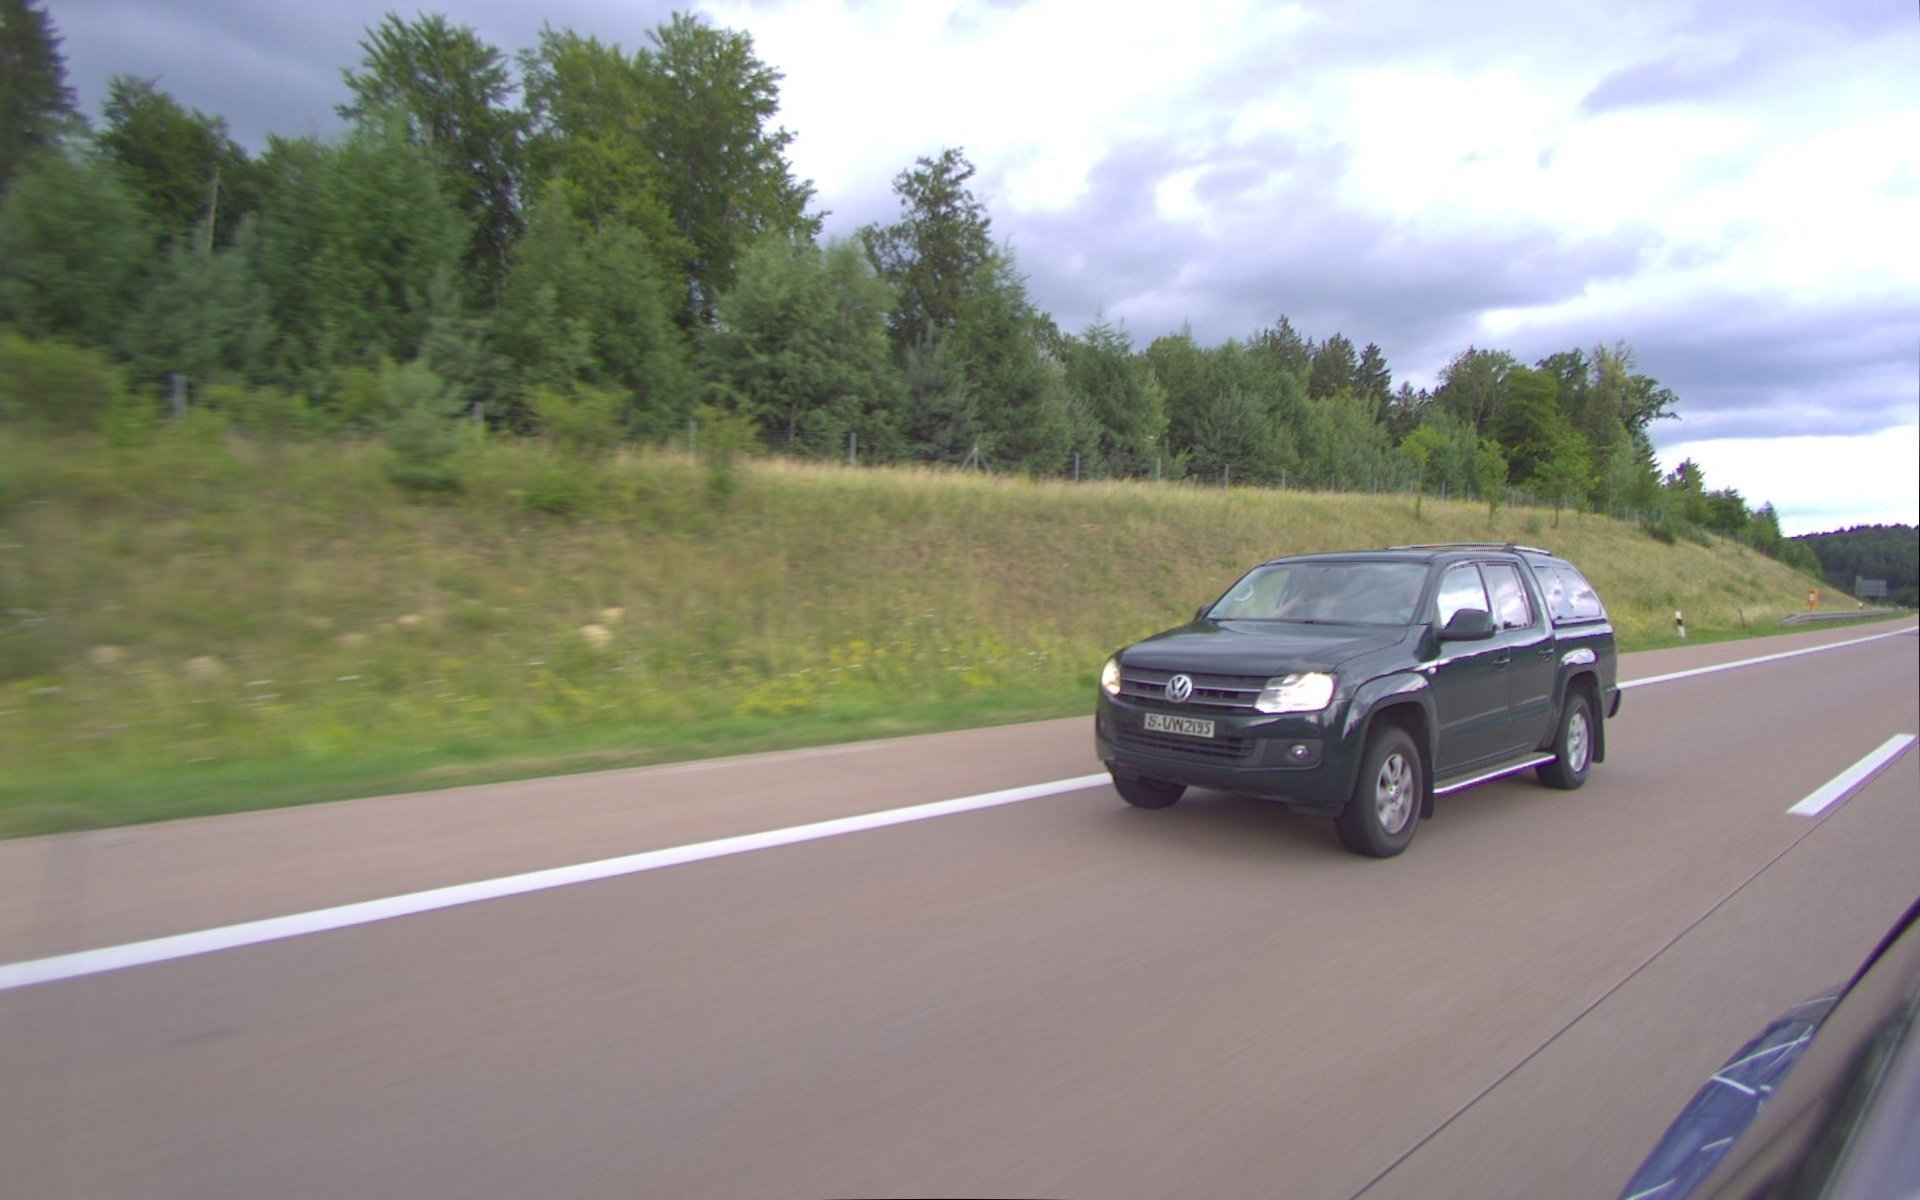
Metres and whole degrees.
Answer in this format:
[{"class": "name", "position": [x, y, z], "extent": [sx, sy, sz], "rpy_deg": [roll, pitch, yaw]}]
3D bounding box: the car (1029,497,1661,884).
[{"class": "car", "position": [3.189, 0.395, 7.584], "extent": [5.479, 1.920, 2.048], "rpy_deg": [-1, 2, -40]}]
